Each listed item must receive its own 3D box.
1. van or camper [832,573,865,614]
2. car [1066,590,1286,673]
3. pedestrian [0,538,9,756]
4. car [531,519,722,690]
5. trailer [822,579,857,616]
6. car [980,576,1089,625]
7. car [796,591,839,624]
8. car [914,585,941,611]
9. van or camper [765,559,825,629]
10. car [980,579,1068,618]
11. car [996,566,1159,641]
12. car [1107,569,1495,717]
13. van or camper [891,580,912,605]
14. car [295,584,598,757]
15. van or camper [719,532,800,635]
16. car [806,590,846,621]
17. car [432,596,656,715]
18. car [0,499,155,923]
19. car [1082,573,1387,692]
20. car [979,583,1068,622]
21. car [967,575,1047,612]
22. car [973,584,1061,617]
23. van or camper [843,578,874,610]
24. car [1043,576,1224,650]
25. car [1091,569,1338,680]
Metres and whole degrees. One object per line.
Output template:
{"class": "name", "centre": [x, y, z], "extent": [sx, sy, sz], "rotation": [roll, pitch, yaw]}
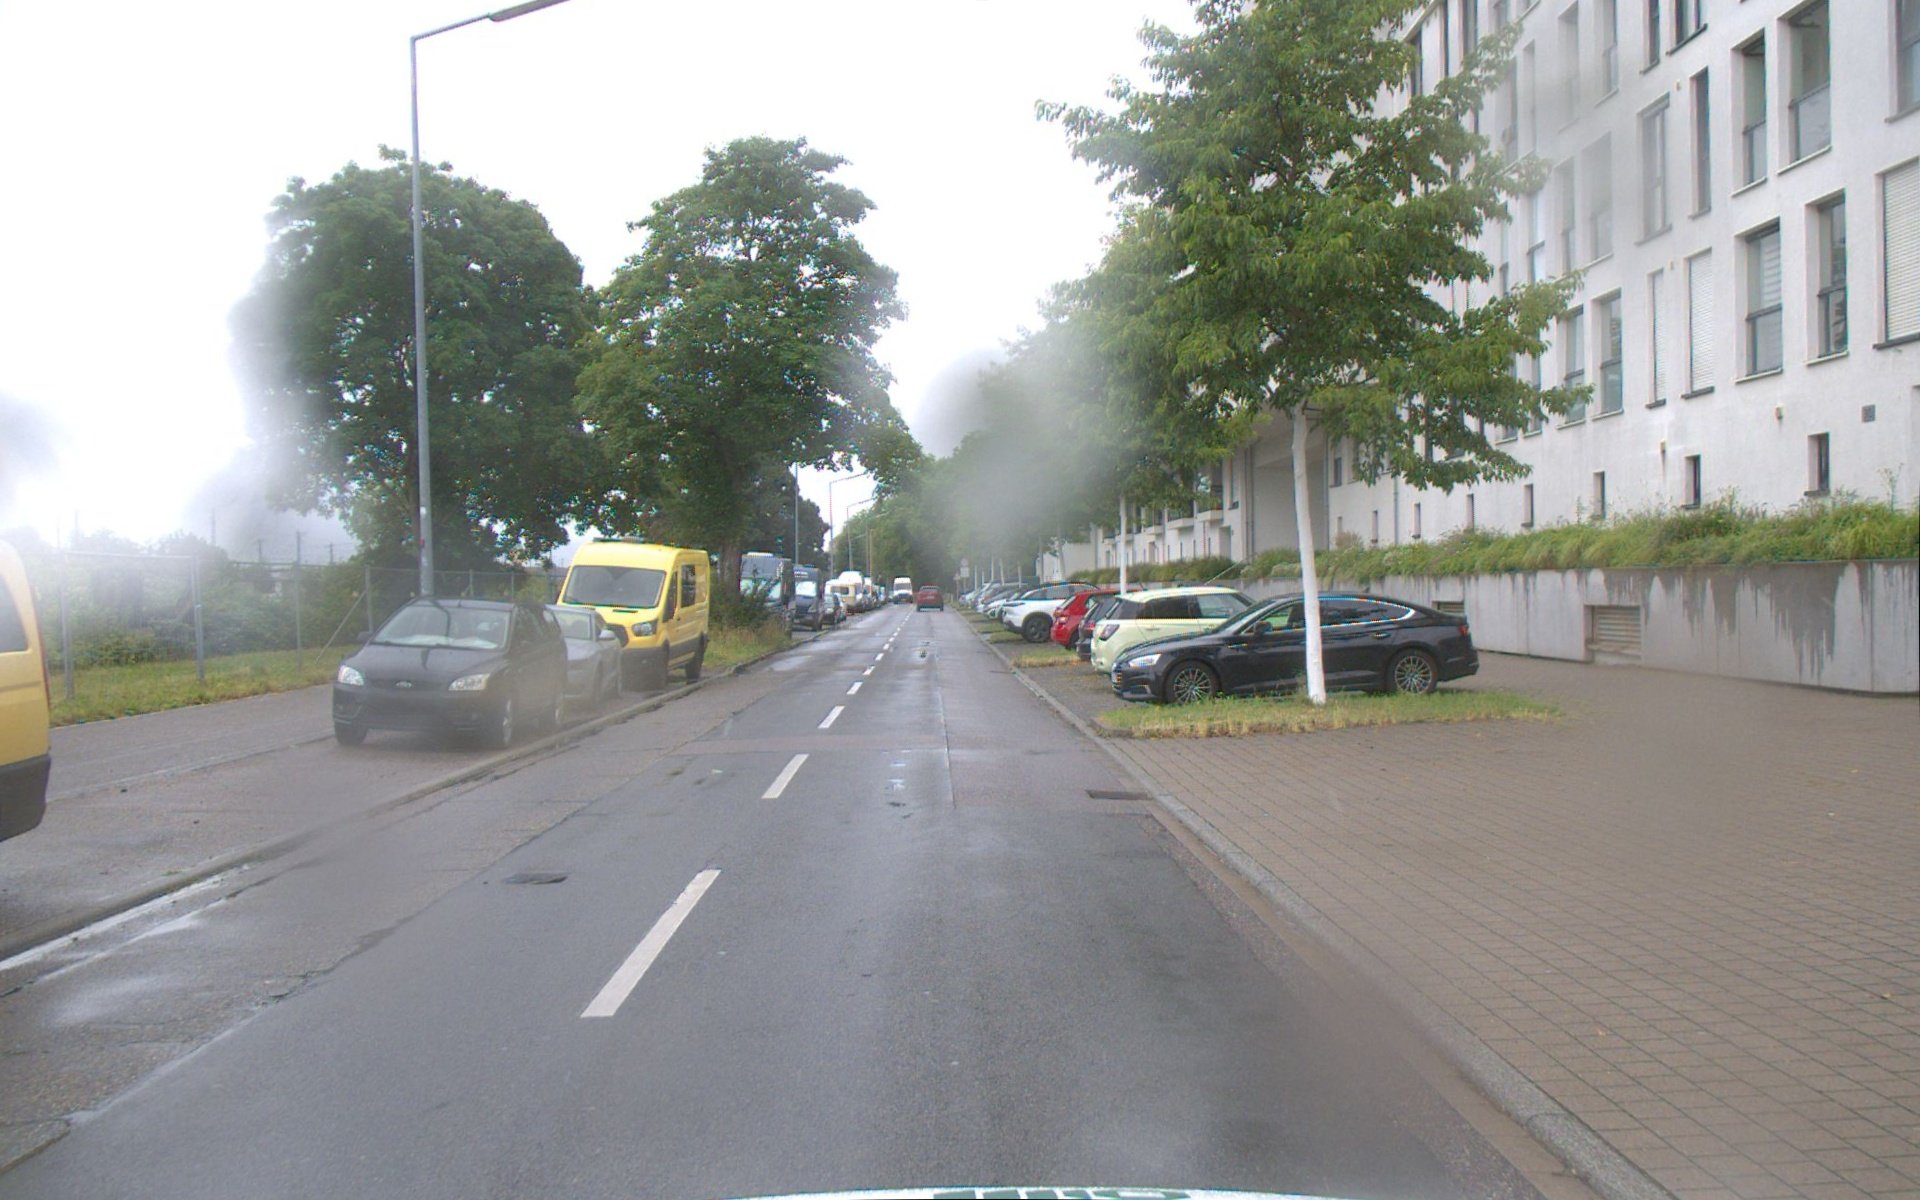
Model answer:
{"class": "van or camper", "centre": [-7.874, -0.457, 117.425], "extent": [1.953, 2.810, 7.897], "rotation": [0, 0, -1]}
{"class": "car", "centre": [4.017, 0.576, 31.105], "extent": [3.878, 1.500, 1.591], "rotation": [0, 0, -4]}
{"class": "pedestrian", "centre": [-9.389, 0.445, 15.198], "extent": [0.727, 2.049, 0.980], "rotation": [0, 0, -1]}
{"class": "car", "centre": [-5.912, 0.061, 30.205], "extent": [2.147, 2.741, 6.081], "rotation": [1, 0, 0]}
{"class": "trailer", "centre": [-7.617, -0.199, 104.800], "extent": [2.017, 2.256, 5.792], "rotation": [0, 0, -3]}
{"class": "car", "centre": [3.161, 0.020, 70.444], "extent": [4.388, 1.716, 1.935], "rotation": [-4, 1, -3]}
{"class": "car", "centre": [-7.078, 0.353, 82.604], "extent": [1.738, 1.529, 4.827], "rotation": [1, 0, -1]}
{"class": "car", "centre": [-2.207, -0.143, 111.789], "extent": [1.720, 1.735, 3.999], "rotation": [-1, 0, -1]}
{"class": "van or camper", "centre": [-6.936, -0.214, 70.071], "extent": [2.052, 2.763, 7.570], "rotation": [1, 0, -3]}
{"class": "car", "centre": [3.085, -0.071, 80.433], "extent": [4.080, 1.652, 1.896], "rotation": [-3, 0, -4]}
{"class": "car", "centre": [3.434, 0.102, 48.734], "extent": [4.452, 1.714, 1.884], "rotation": [-6, 0, -4]}
{"class": "car", "centre": [4.247, 0.517, 21.082], "extent": [4.479, 1.523, 1.825], "rotation": [-4, 0, -2]}
{"class": "van or camper", "centre": [-6.096, -0.782, 172.771], "extent": [1.953, 2.541, 7.177], "rotation": [-2, 0, 0]}
{"class": "car", "centre": [-5.511, 0.689, 18.505], "extent": [1.953, 1.622, 5.015], "rotation": [1, 0, -2]}
{"class": "van or camper", "centre": [-6.551, -0.502, 54.707], "extent": [2.052, 3.148, 6.421], "rotation": [2, 0, -2]}
{"class": "car", "centre": [-7.173, 0.274, 88.937], "extent": [1.849, 1.552, 5.108], "rotation": [2, 0, -2]}
{"class": "car", "centre": [-5.812, 0.715, 23.833], "extent": [1.970, 1.459, 5.338], "rotation": [2, 0, -2]}
{"class": "car", "centre": [-5.452, 0.512, 6.207], "extent": [1.976, 1.990, 6.063], "rotation": [1, 0, -1]}
{"class": "car", "centre": [4.210, 0.487, 25.831], "extent": [4.397, 1.507, 1.691], "rotation": [-4, 0, -2]}
{"class": "car", "centre": [2.868, 0.117, 75.241], "extent": [3.907, 1.536, 1.684], "rotation": [-3, 1, -2]}
{"class": "car", "centre": [2.739, -0.401, 97.772], "extent": [4.528, 2.055, 1.856], "rotation": [-1, 0, -6]}
{"class": "car", "centre": [2.853, 0.021, 82.849], "extent": [4.214, 1.453, 1.636], "rotation": [-3, 0, -3]}
{"class": "van or camper", "centre": [-8.011, -0.475, 131.349], "extent": [2.145, 2.505, 6.376], "rotation": [0, 0, -1]}
{"class": "car", "centre": [4.000, 0.304, 38.562], "extent": [3.907, 1.477, 1.820], "rotation": [-3, -1, -2]}
{"class": "car", "centre": [4.316, 0.406, 28.471], "extent": [3.907, 1.582, 1.634], "rotation": [-4, 0, -1]}
